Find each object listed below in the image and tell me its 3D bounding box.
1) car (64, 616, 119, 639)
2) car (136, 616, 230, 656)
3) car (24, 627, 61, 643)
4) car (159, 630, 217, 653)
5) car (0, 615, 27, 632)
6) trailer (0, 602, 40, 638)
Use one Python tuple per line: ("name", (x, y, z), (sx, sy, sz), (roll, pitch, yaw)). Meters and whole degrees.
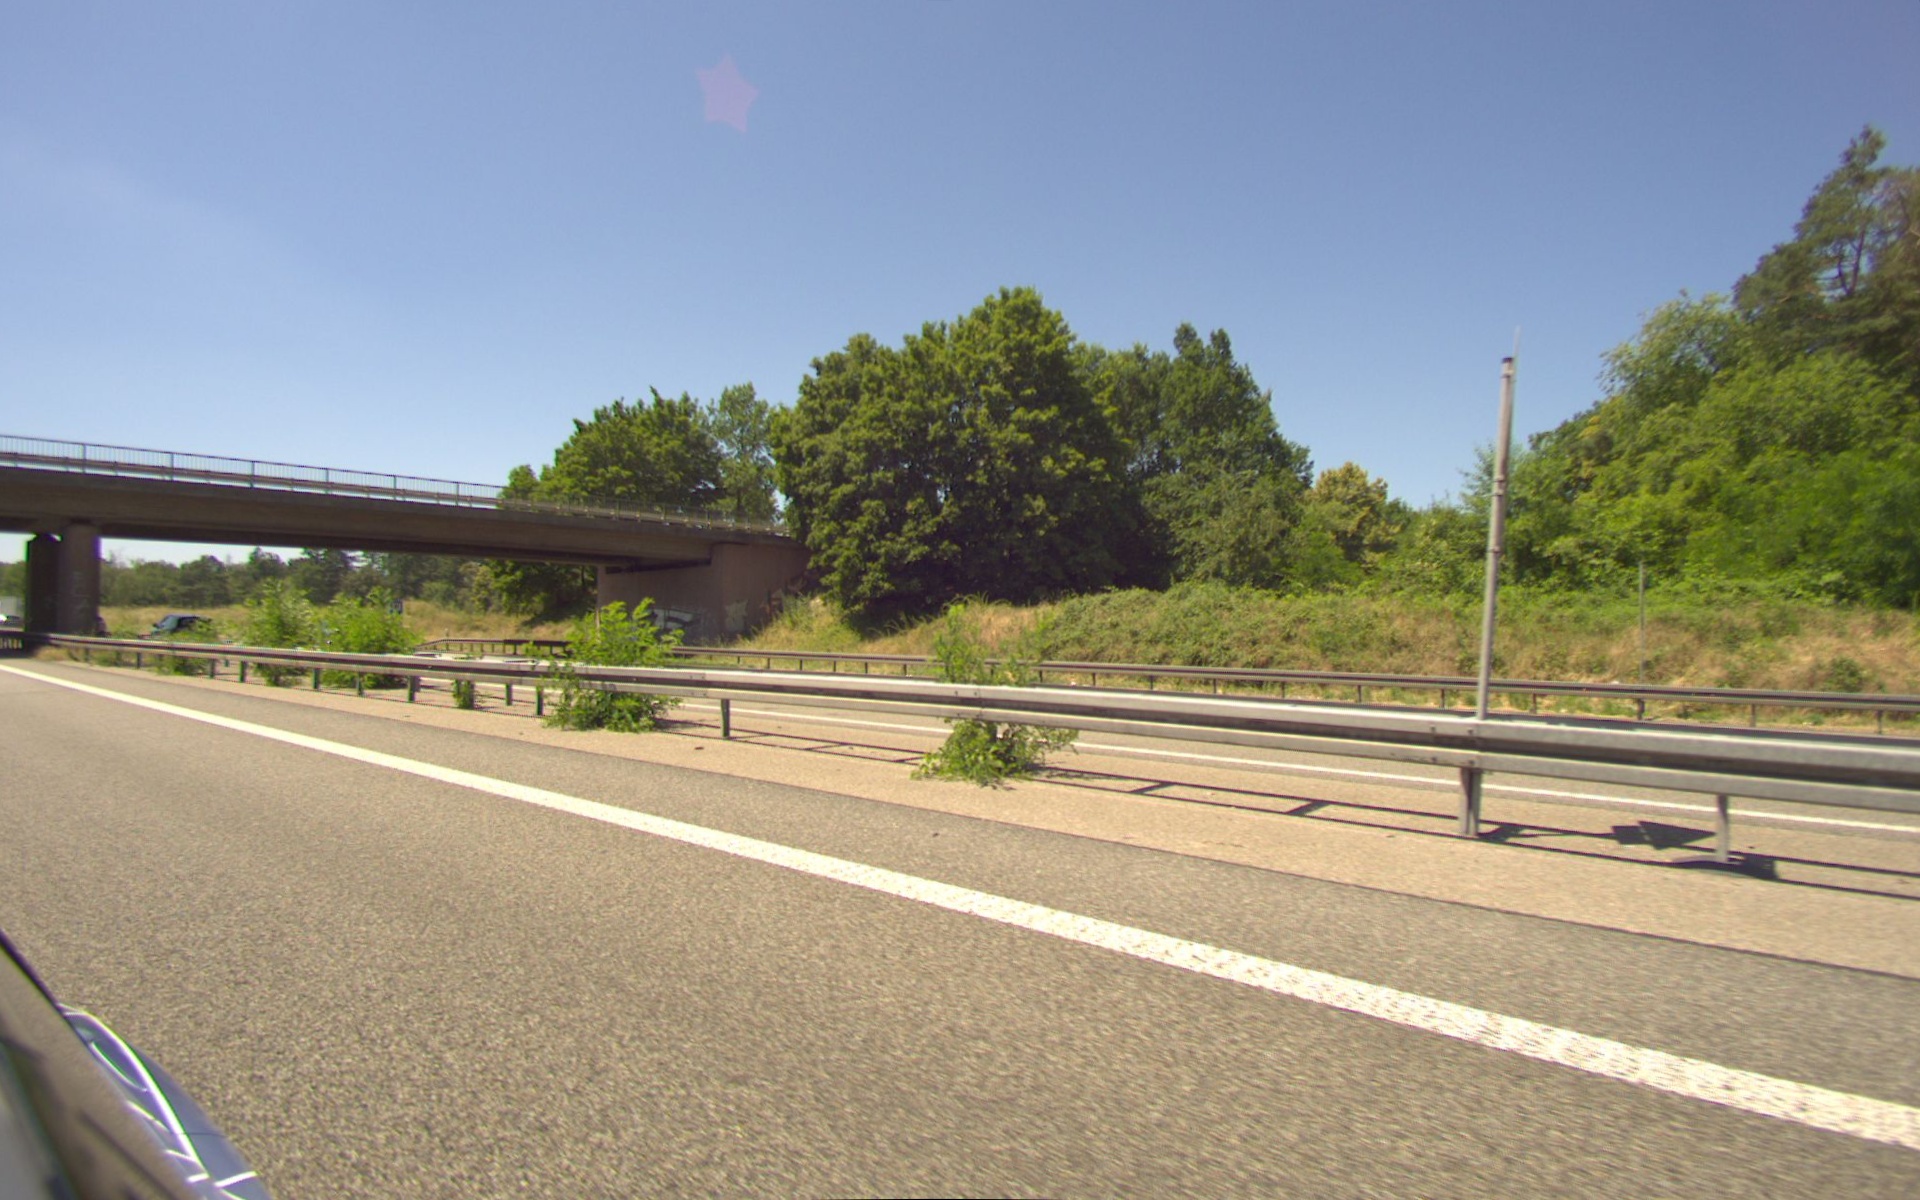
("car", (-64.638, 2.063, 75.296), (5.056, 1.623, 2.205), (-1, -4, 40))
("car", (-34.723, 1.615, 45.168), (5.056, 1.623, 2.205), (-1, -4, 40))
("car", (-99.877, 3.770, 110.150), (4.783, 1.623, 2.205), (-1, -4, 40))
("car", (-56.280, 3.024, 73.762), (5.056, 1.623, 2.205), (-1, -4, 40))
("car", (-93.335, 2.293, 99.100), (5.056, 1.623, 2.205), (-1, -4, 40))
("trailer", (-116.906, 2.542, 124.952), (14.091, 4.139, 2.919), (-1, -5, 40))
